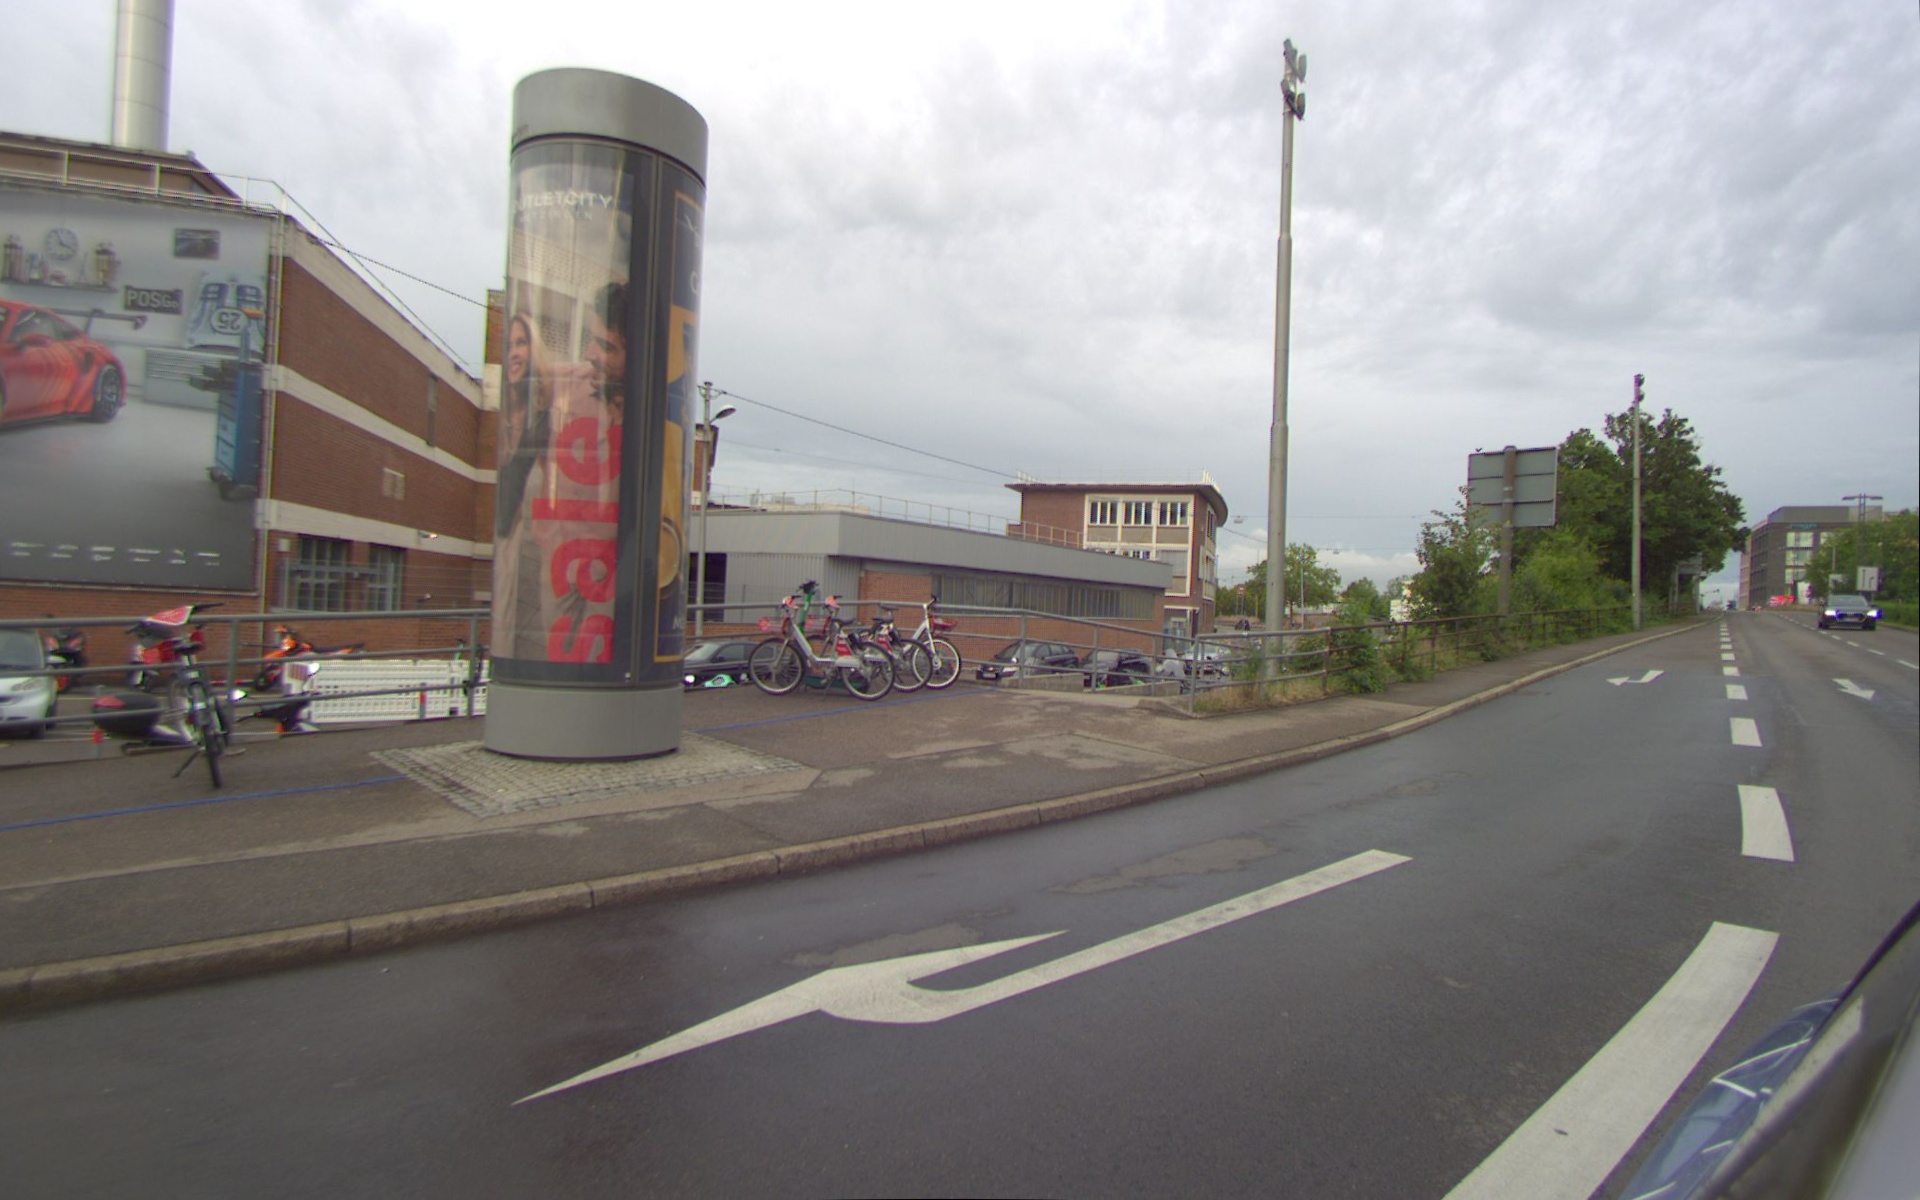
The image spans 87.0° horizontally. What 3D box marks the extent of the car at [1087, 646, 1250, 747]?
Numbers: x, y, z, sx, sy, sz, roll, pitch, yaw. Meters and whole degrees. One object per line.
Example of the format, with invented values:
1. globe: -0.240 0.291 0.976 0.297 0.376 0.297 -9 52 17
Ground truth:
1. car: 4.207 1.800 20.017 1.694 1.574 3.805 1 1 37

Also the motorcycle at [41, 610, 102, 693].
1. motorcycle: -16.549 0.929 18.890 0.675 1.325 2.022 3 2 -38

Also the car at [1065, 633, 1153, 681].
1. car: 5.717 2.109 38.473 1.694 1.574 3.805 1 1 37

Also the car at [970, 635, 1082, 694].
1. car: 2.275 2.089 33.886 1.629 1.652 4.370 1 1 37

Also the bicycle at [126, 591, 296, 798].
1. bicycle: -5.134 0.562 6.891 1.799 1.176 0.583 3 2 42

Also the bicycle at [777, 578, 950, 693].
1. bicycle: -1.113 0.384 11.766 1.900 1.239 0.598 2 1 9

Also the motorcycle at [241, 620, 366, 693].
1. motorcycle: -13.295 1.138 20.562 1.943 1.325 0.932 3 1 -23

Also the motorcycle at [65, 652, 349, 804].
1. motorcycle: -6.055 0.974 8.225 0.696 1.002 1.726 2 0 39

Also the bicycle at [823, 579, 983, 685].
1. bicycle: -0.722 0.366 12.587 1.911 1.192 0.595 2 1 23

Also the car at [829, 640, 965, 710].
1. car: -1.717 2.040 28.528 1.694 1.648 3.877 1 1 37

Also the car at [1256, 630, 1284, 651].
1. car: 22.945 2.982 74.853 1.648 1.413 3.970 1 0 22

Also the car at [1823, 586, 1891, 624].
1. car: 40.774 0.195 46.109 1.831 1.603 4.234 2 1 35

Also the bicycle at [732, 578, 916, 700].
1. bicycle: -1.491 0.397 11.139 1.901 1.239 0.597 2 1 10

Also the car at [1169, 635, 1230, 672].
1. car: 11.959 2.619 50.428 1.692 1.574 3.808 1 1 35

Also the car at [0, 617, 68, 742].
1. car: -14.235 1.078 14.743 1.663 1.500 3.558 4 -1 -40

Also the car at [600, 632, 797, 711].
1. car: -5.884 1.595 23.239 1.694 1.630 4.204 -1 -3 37

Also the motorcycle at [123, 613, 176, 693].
1. motorcycle: -15.510 0.996 19.401 0.562 1.325 1.873 3 2 -34
